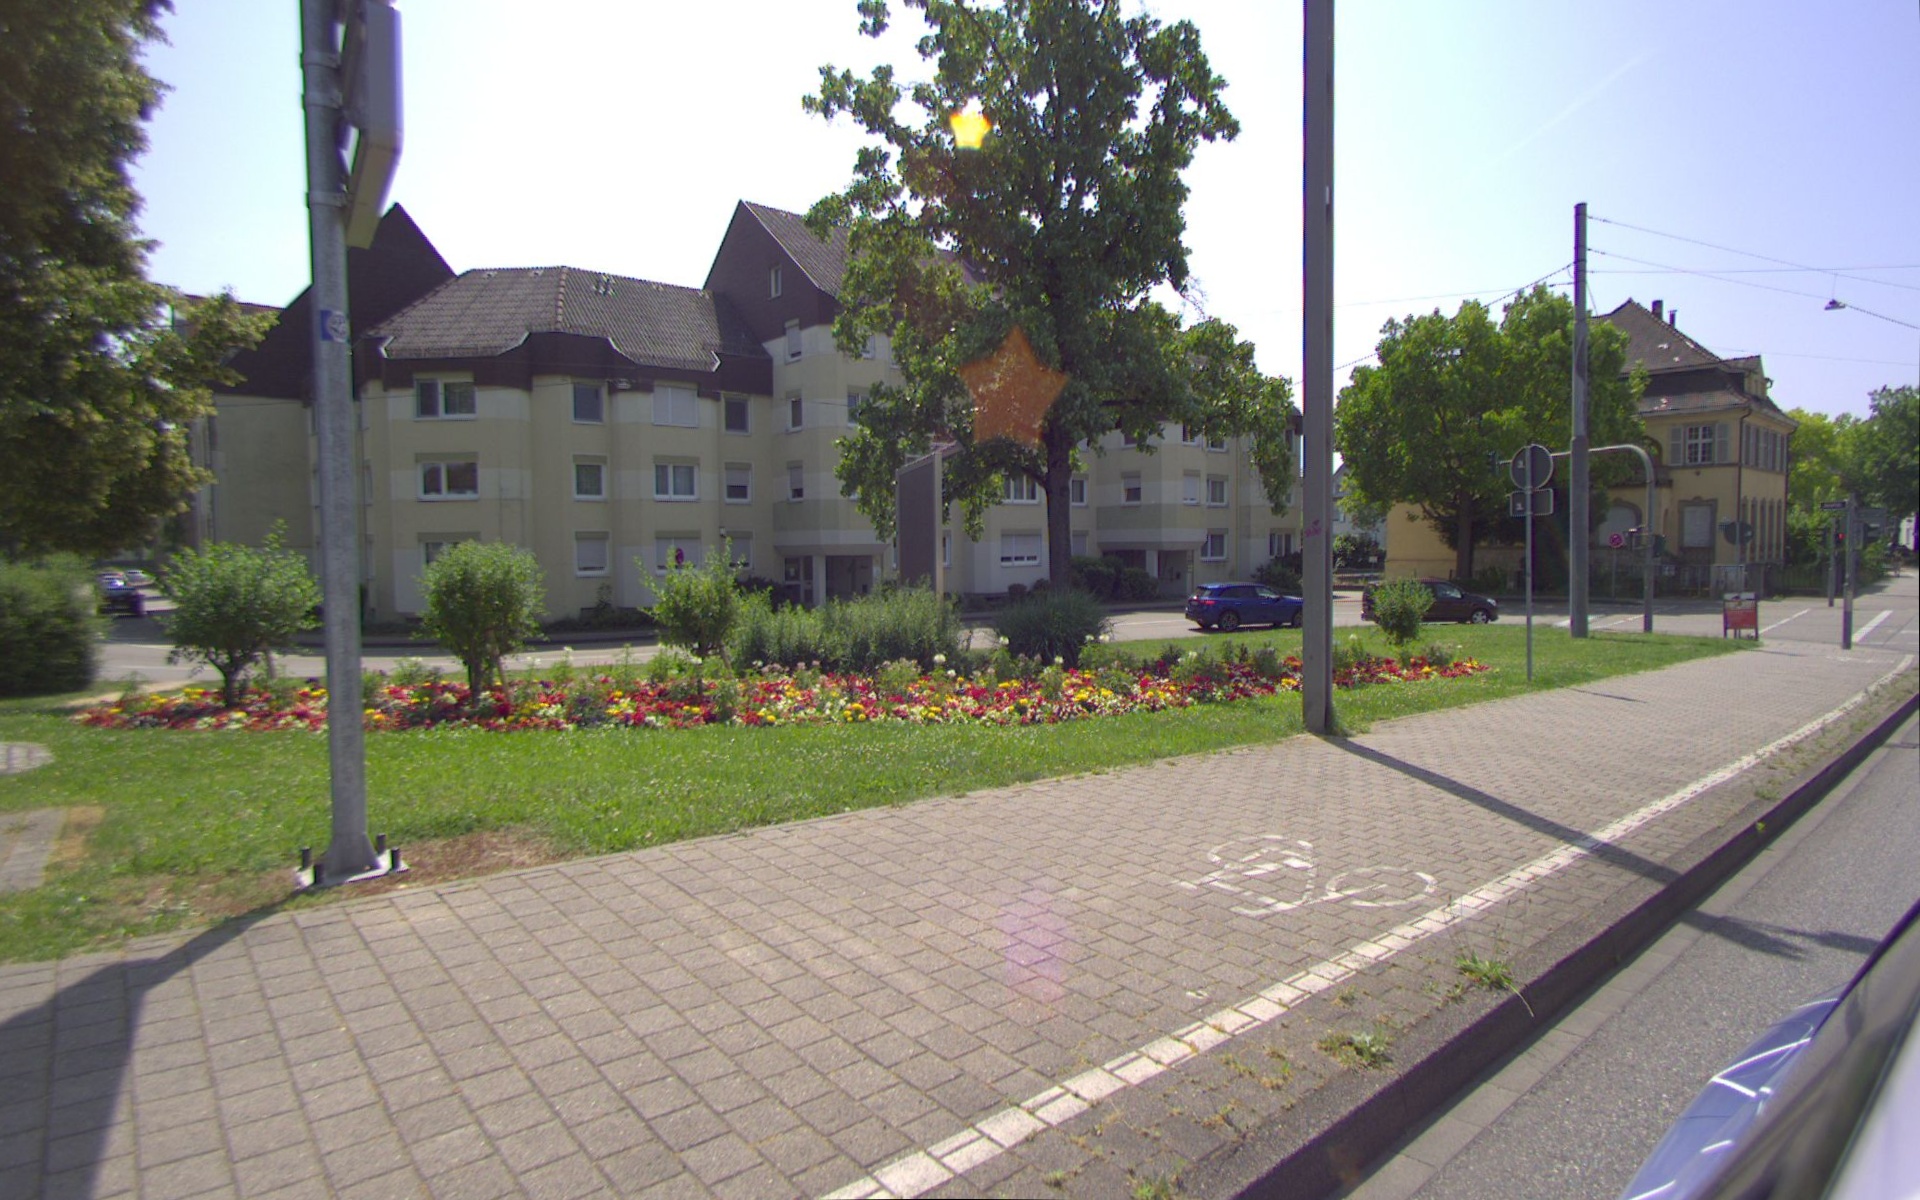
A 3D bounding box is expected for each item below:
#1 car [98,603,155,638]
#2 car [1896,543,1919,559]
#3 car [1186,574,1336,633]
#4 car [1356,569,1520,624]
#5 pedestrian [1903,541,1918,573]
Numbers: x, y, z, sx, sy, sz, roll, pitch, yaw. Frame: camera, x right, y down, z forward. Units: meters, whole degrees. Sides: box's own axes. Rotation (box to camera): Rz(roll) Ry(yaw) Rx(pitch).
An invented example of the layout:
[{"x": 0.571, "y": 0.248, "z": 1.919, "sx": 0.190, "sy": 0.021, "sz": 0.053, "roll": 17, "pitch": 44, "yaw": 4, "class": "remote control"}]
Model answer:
[{"x": -40.770, "y": 0.969, "z": 49.481, "sx": 1.799, "sy": 1.571, "sz": 3.989, "roll": -2, "pitch": 1, "yaw": -44, "class": "car"}, {"x": 114.166, "y": -5.816, "z": 121.360, "sx": 1.904, "sy": 1.816, "sz": 3.957, "roll": -1, "pitch": 1, "yaw": 31, "class": "car"}, {"x": 10.558, "y": 0.071, "z": 35.583, "sx": 4.670, "sy": 1.721, "sz": 2.005, "roll": -3, "pitch": 4, "yaw": -13, "class": "car"}, {"x": 16.505, "y": -0.148, "z": 35.147, "sx": 4.734, "sy": 1.651, "sz": 1.916, "roll": -2, "pitch": 3, "yaw": 6, "class": "car"}, {"x": 58.049, "y": -2.645, "z": 61.797, "sx": 0.732, "sy": 1.941, "sz": 0.620, "roll": -4, "pitch": 4, "yaw": -44, "class": "pedestrian"}]
